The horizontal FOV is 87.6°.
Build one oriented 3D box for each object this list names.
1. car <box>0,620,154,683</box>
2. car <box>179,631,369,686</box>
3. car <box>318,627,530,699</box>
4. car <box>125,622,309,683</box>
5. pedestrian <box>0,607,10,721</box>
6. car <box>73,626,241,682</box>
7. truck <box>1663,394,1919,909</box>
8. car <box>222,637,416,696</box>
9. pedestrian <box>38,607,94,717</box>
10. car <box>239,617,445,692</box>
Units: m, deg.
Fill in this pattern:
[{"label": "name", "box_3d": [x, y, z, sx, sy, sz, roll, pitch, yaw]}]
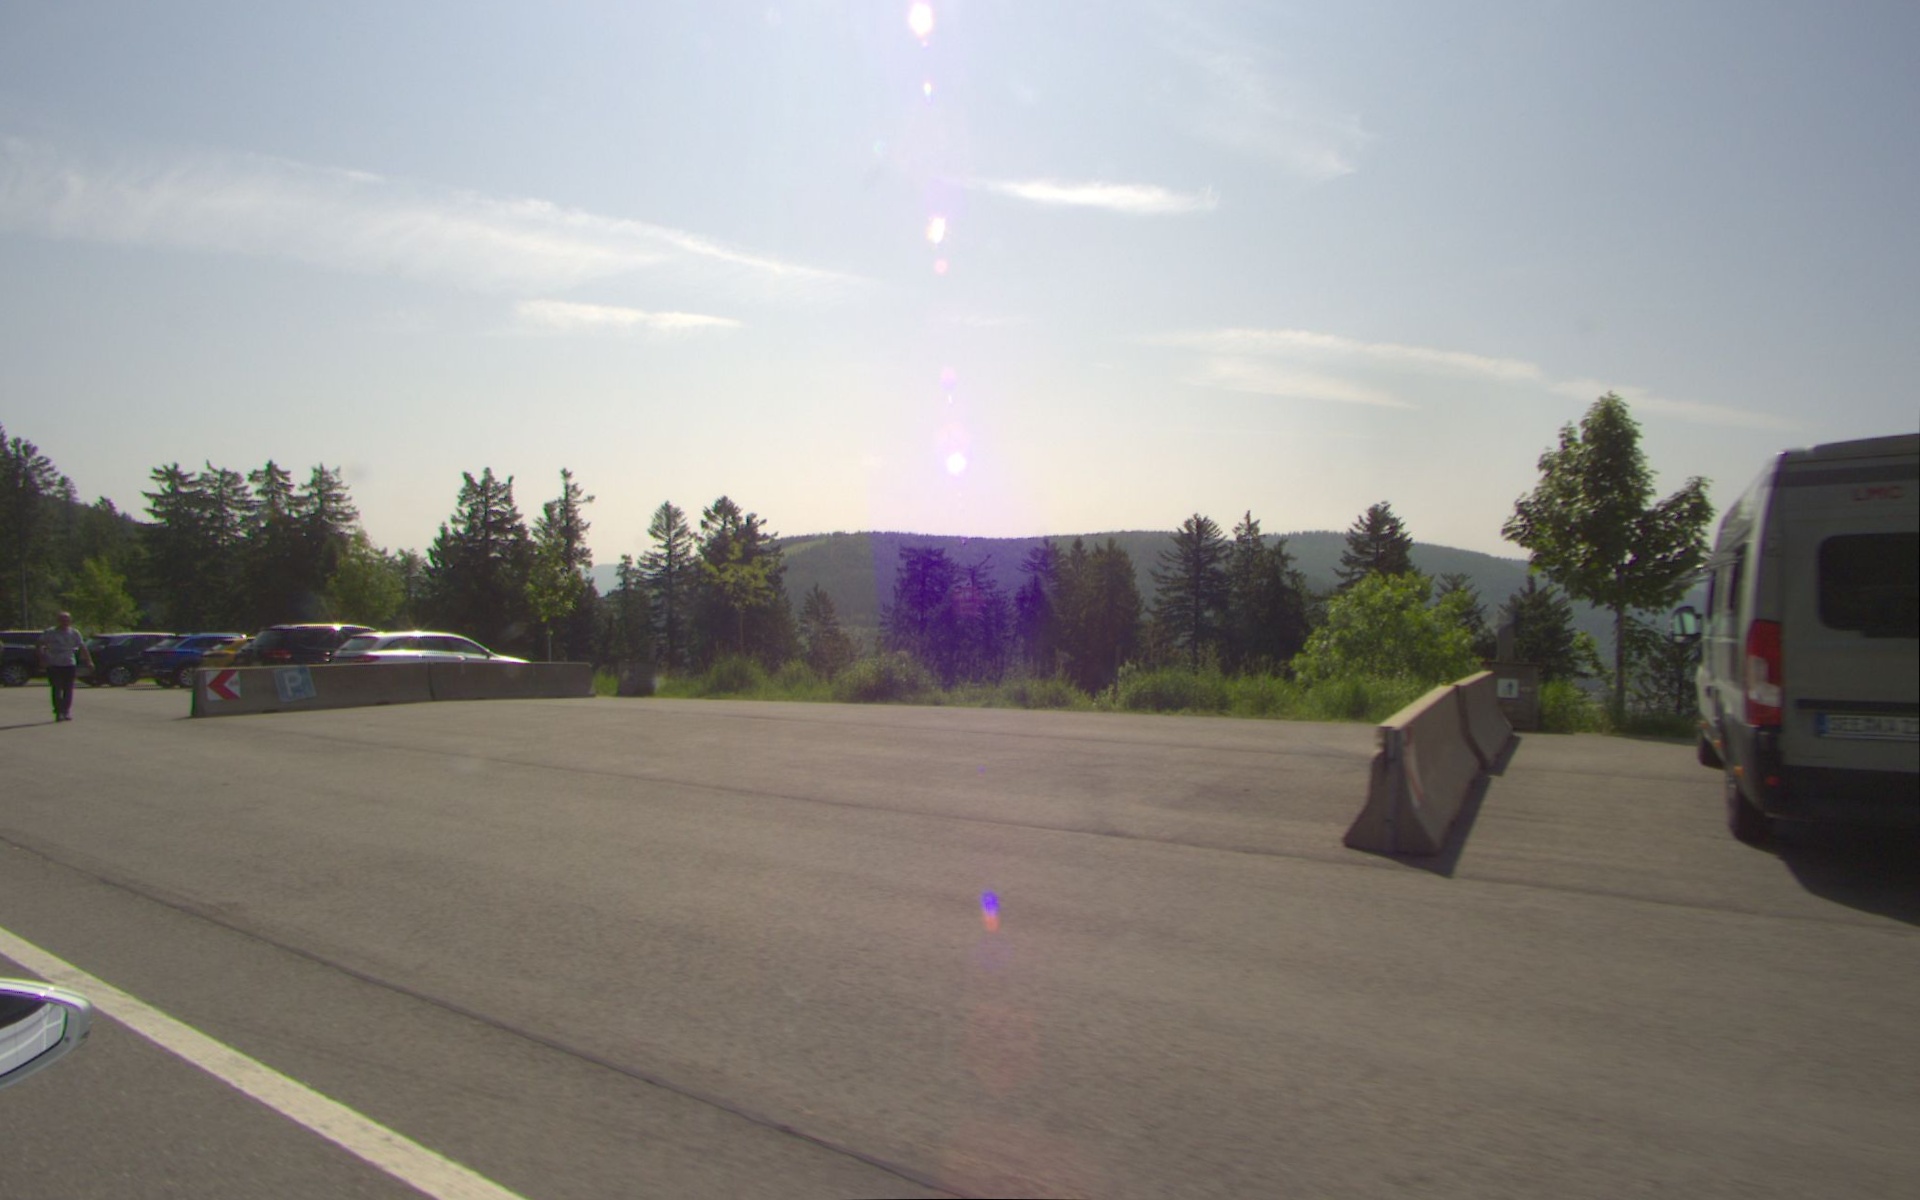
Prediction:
[{"label": "car", "box_3d": [-28.160, 1.545, 31.293, 1.864, 1.817, 4.257, 0, -1, 31]}, {"label": "car", "box_3d": [-19.156, 1.574, 28.114, 1.959, 1.370, 3.980, -1, -1, 32]}, {"label": "car", "box_3d": [-12.236, 1.424, 23.126, 1.747, 1.495, 3.983, -1, -3, 31]}, {"label": "car", "box_3d": [-21.792, 1.486, 29.535, 1.779, 1.556, 3.982, 3, 1, 30]}, {"label": "pedestrian", "box_3d": [-15.510, 1.007, 15.780, 0.748, 1.783, 0.768, -1, 1, -43]}, {"label": "car", "box_3d": [-24.720, 1.622, 30.957, 1.575, 1.587, 3.749, -1, -1, 28]}, {"label": "truck", "box_3d": [6.839, 0.258, 7.546, 2.308, 2.625, 6.245, -1, 0, 33]}, {"label": "car", "box_3d": [-17.011, 1.772, 26.770, 1.739, 1.454, 3.991, -1, -4, 33]}, {"label": "pedestrian", "box_3d": [-14.847, 1.002, 16.640, 0.660, 1.764, 0.886, -1, 1, -43]}, {"label": "car", "box_3d": [-14.891, 1.311, 24.369, 1.576, 1.667, 3.984, -1, -3, 30]}]
